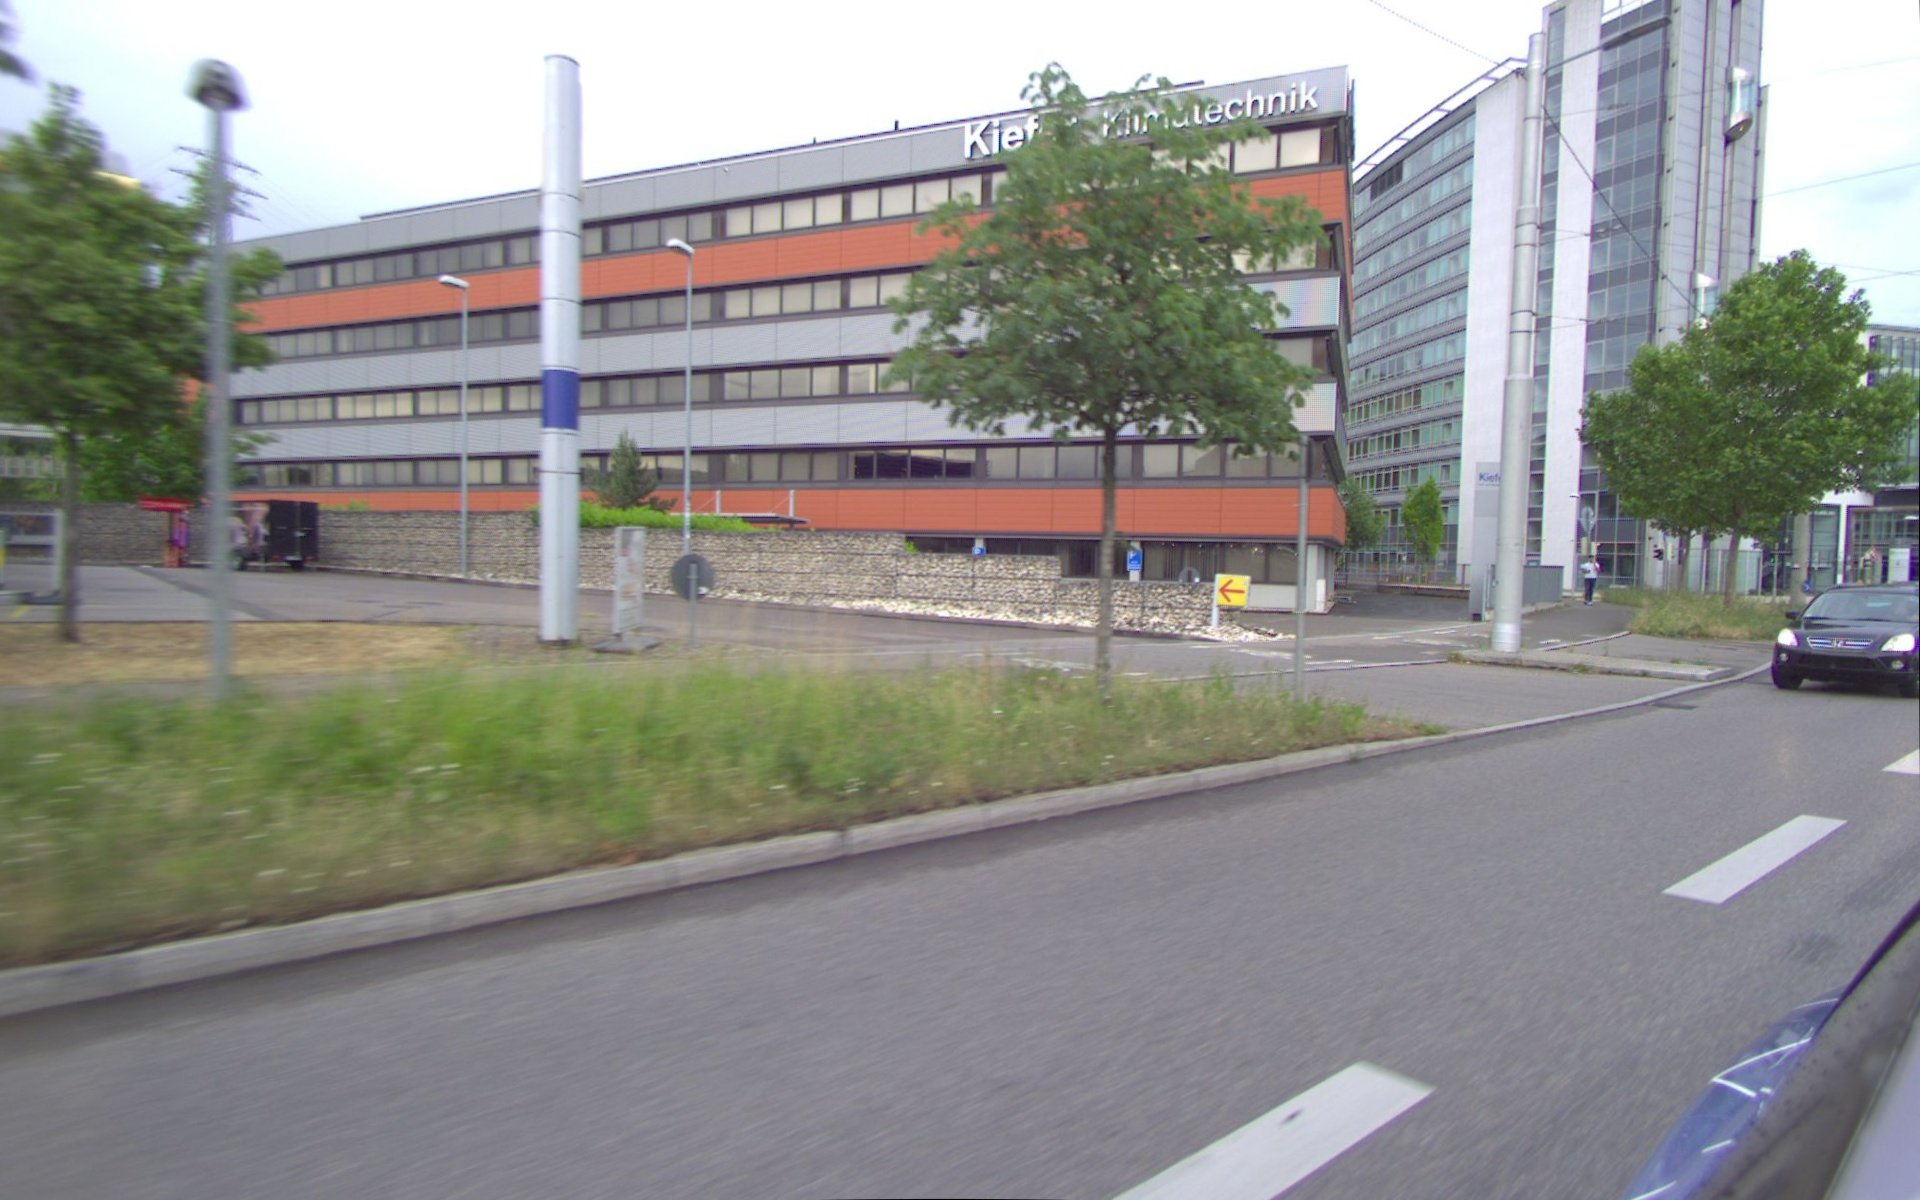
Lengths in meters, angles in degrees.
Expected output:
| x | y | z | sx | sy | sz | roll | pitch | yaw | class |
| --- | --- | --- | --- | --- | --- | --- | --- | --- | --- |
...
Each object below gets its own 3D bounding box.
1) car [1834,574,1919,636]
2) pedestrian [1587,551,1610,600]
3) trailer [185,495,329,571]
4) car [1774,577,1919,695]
| x | y | z | sx | sy | sz | roll | pitch | yaw | class |
| --- | --- | --- | --- | --- | --- | --- | --- | --- | --- |
| 24.698 | 0.105 | 26.770 | 3.770 | 1.512 | 1.877 | 0 | 2 | -41 | car |
| 25.460 | -0.978 | 40.358 | 0.675 | 1.924 | 0.673 | 0 | 0 | 25 | pedestrian |
| -21.489 | -2.045 | 30.946 | 3.957 | 2.172 | 1.825 | 3 | 2 | 24 | trailer |
| 14.755 | 0.482 | 16.116 | 4.279 | 1.667 | 1.793 | -1 | 0 | -37 | car |
